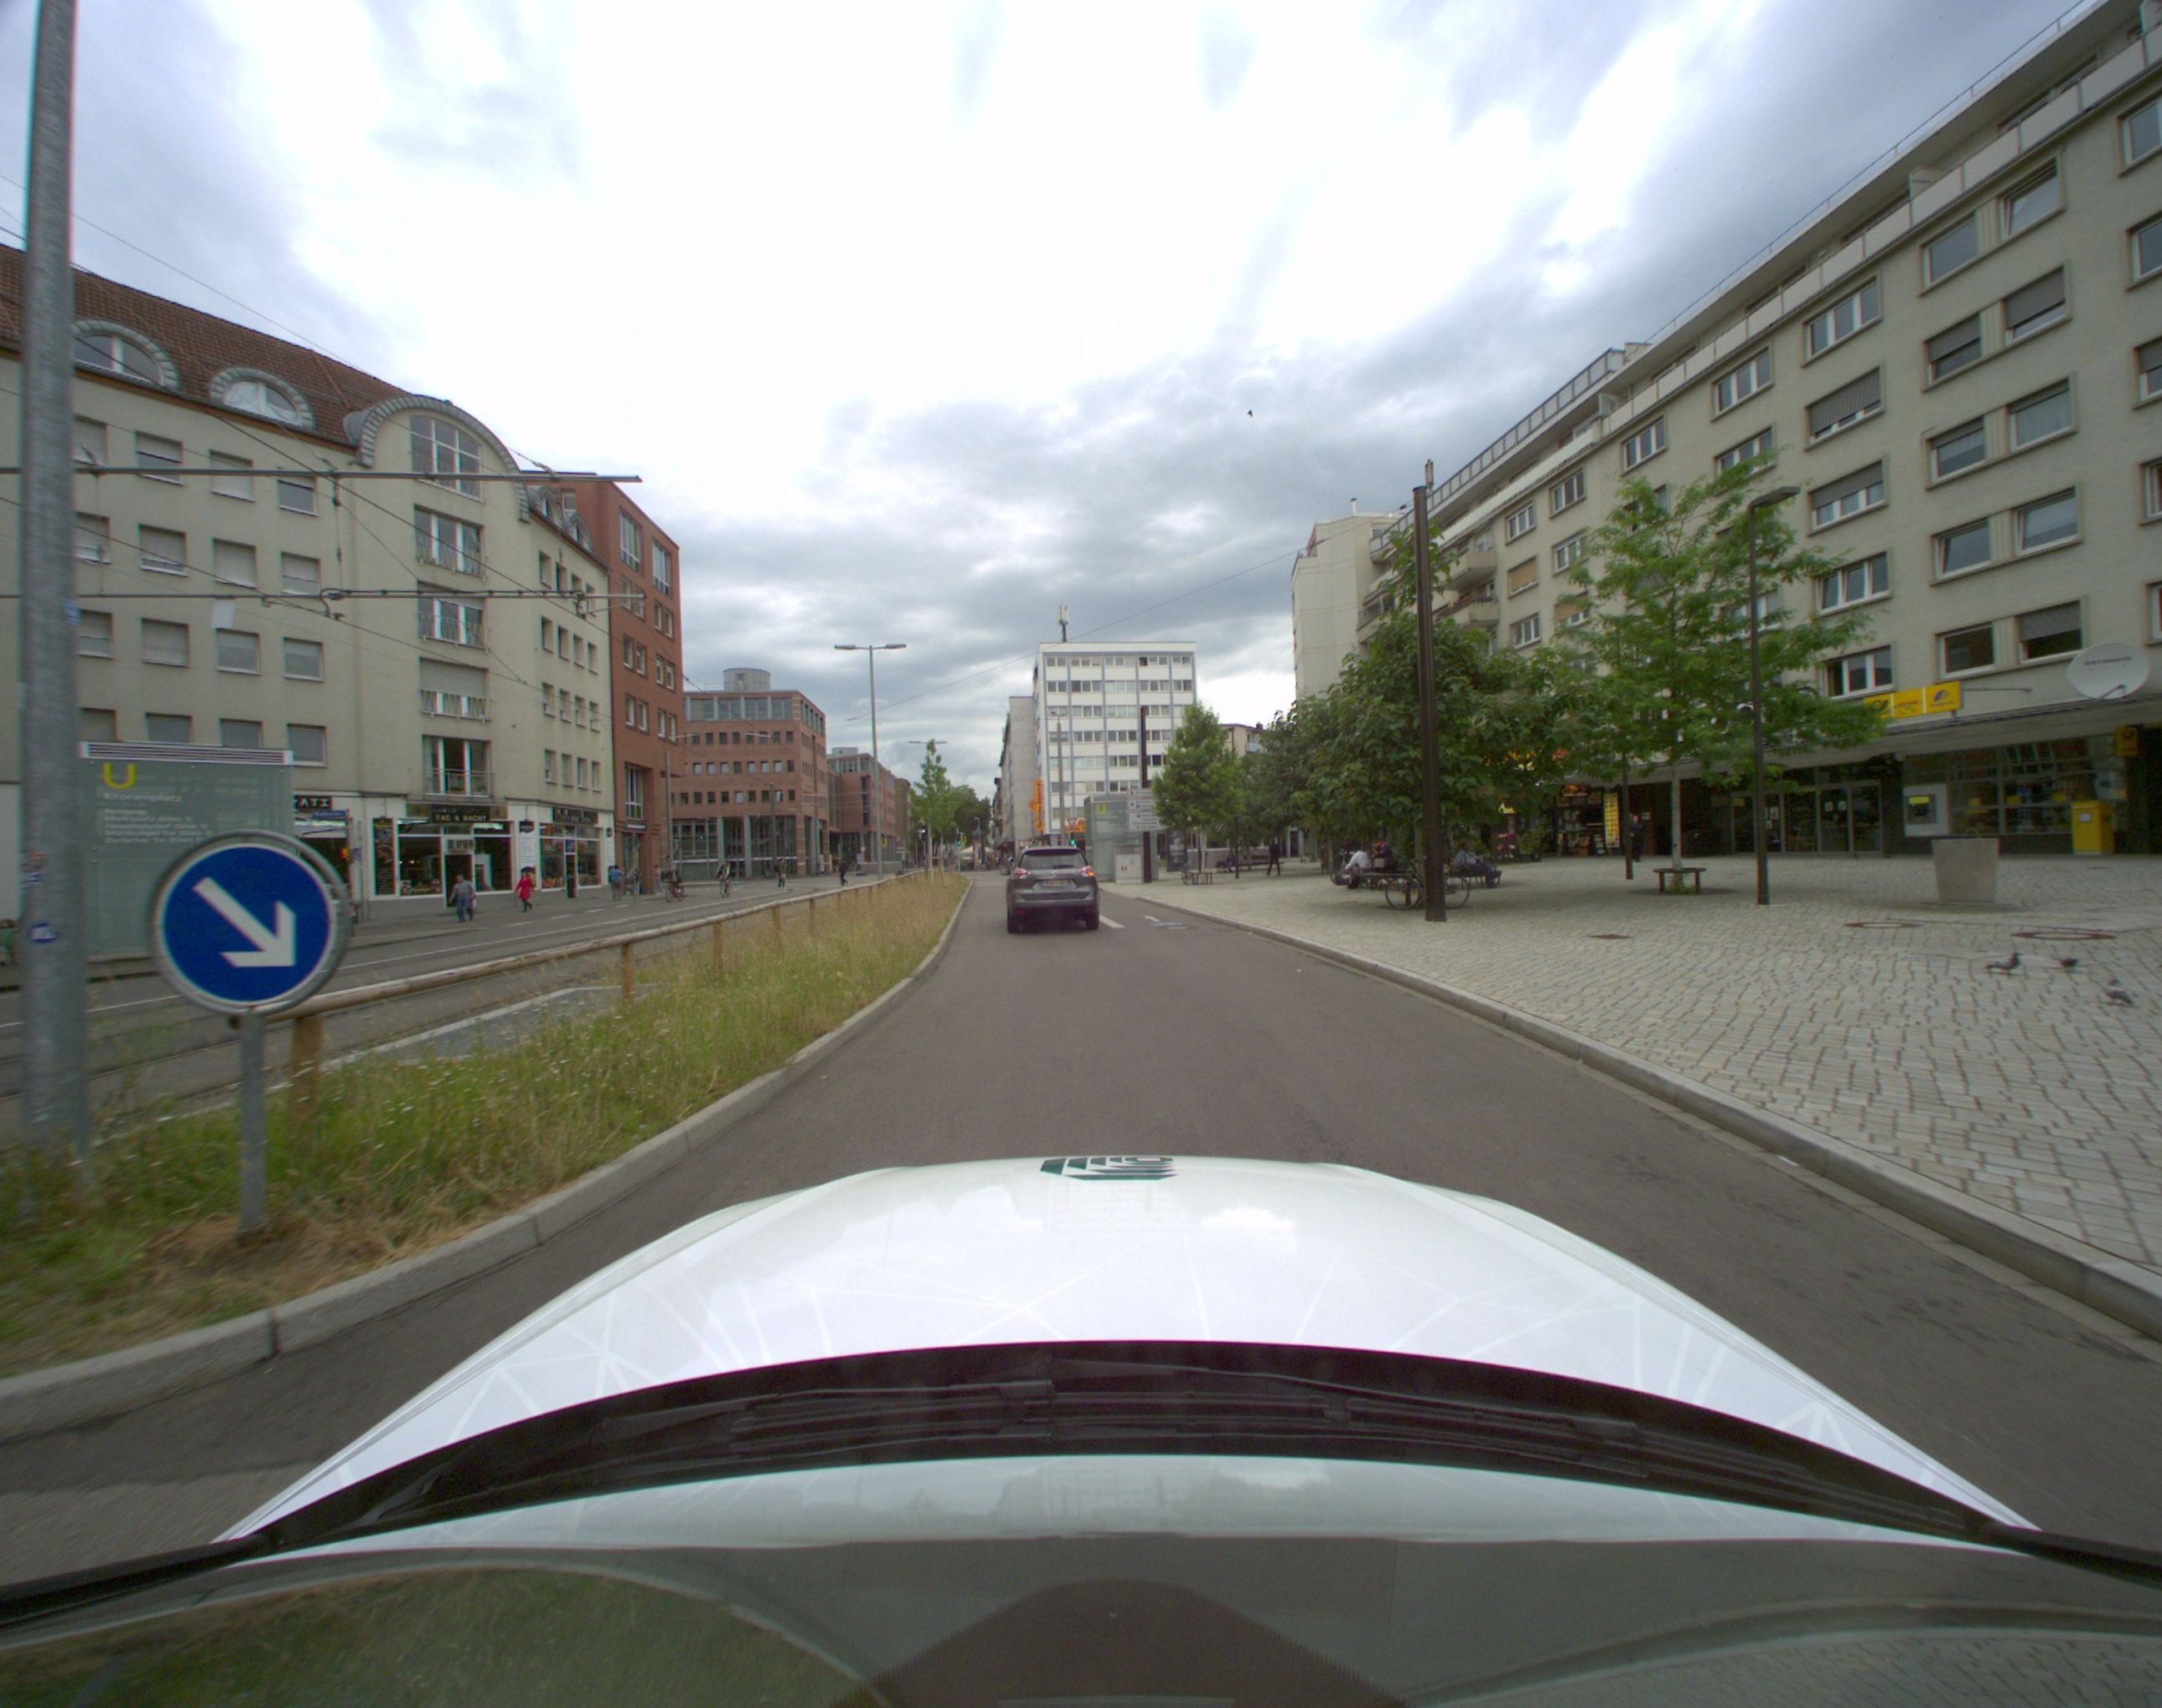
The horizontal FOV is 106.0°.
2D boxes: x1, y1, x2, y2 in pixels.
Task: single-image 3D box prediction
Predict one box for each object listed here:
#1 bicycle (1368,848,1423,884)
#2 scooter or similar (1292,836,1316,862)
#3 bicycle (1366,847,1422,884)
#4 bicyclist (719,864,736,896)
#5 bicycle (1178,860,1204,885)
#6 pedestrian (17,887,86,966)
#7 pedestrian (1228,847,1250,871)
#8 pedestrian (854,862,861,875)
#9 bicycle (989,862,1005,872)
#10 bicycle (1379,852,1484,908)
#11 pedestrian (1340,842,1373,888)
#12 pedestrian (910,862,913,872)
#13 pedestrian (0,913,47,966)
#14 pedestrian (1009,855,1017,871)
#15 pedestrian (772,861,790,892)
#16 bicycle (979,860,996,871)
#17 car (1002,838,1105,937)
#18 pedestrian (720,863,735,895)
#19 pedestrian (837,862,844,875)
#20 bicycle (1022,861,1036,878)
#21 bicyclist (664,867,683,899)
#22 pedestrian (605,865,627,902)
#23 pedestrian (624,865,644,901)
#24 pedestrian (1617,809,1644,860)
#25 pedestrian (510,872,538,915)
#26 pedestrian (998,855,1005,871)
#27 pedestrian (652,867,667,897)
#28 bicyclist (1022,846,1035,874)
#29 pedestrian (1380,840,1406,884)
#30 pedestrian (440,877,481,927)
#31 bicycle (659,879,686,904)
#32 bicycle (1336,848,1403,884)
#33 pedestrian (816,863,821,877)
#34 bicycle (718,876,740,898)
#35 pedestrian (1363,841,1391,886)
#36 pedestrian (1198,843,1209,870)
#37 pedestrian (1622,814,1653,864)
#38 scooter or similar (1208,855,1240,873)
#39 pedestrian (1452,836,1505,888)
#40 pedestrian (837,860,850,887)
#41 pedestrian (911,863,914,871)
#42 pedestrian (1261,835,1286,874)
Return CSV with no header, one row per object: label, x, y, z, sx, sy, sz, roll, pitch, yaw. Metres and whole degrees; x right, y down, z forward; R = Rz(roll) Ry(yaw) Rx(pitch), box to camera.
bicycle,10.465,0.388,27.125,1.591,1.111,0.478,-3,0,7
scooter or similar,16.120,-0.358,58.836,1.080,1.806,2.275,-3,0,2
bicycle,10.222,0.363,26.646,1.591,1.111,0.478,-3,0,7
bicyclist,-17.722,1.291,40.827,0.491,1.540,0.809,-3,0,-8
bicycle,4.759,0.781,35.172,0.652,0.978,1.764,-3,0,22
pedestrian,-21.120,1.474,16.715,0.552,1.556,0.656,-1,0,-3
pedestrian,9.057,0.299,46.626,1.041,1.297,0.732,-4,0,-2
pedestrian,-31.853,2.099,115.865,0.737,1.842,0.695,-1,-1,-36
bicycle,-9.661,1.467,93.486,1.703,1.065,0.434,-1,0,-23
bicycle,7.331,0.542,17.110,1.905,1.123,0.646,-1,0,3
pedestrian,8.460,0.339,25.023,0.631,1.366,0.682,-1,0,-26
pedestrian,-31.608,2.449,151.837,0.601,1.714,0.652,-1,0,-14
pedestrian,-21.719,1.744,16.648,0.551,1.031,0.453,-1,0,1
pedestrian,-7.723,1.016,93.088,0.714,1.832,1.012,-1,0,-15
pedestrian,-18.316,1.372,49.790,0.896,1.890,0.796,-1,-1,-9
bicycle,-10.730,1.335,93.384,1.874,1.172,0.527,-1,0,-22
car,-0.682,0.599,17.542,1.860,1.774,4.560,-3,1,-4
pedestrian,-21.775,1.529,50.114,0.610,1.890,0.796,-2,-1,-9
pedestrian,-34.493,2.058,116.902,0.737,1.842,0.695,-1,-1,-32
bicycle,-3.513,1.040,54.693,0.900,1.045,3.272,-2,0,-4
bicyclist,-18.350,1.308,36.693,0.479,1.407,0.809,-3,0,-8
pedestrian,-21.805,1.391,38.199,0.661,1.687,0.719,-2,-2,-16
pedestrian,-21.293,1.366,38.798,0.662,1.687,0.718,-2,-2,-19
pedestrian,20.730,-0.712,30.757,0.766,1.885,0.858,-1,-1,31
pedestrian,-22.357,1.590,32.695,0.722,1.687,0.658,-2,-2,-18
pedestrian,-9.097,1.018,92.939,0.733,1.746,0.660,-1,0,-15
pedestrian,-24.003,1.595,46.411,0.569,1.684,0.796,-1,-1,-11
bicyclist,-3.513,0.391,54.508,0.833,1.812,0.876,-1,0,-5
pedestrian,9.903,0.244,25.892,0.539,1.366,1.284,-1,0,11
pedestrian,-21.789,1.678,28.617,0.715,1.687,0.828,-3,-2,13
bicycle,-18.286,1.673,36.487,0.479,1.021,1.906,-3,0,-8
bicycle,9.809,0.409,27.729,2.022,1.111,0.479,-3,0,8
pedestrian,-30.248,1.834,93.739,0.451,1.532,0.518,-1,-1,-25
bicycle,-17.728,1.654,41.027,0.476,1.021,1.907,-3,0,-8
pedestrian,9.168,0.287,25.239,0.624,1.366,0.922,-1,0,10
pedestrian,7.956,0.176,52.899,0.667,1.761,0.643,-1,0,8
pedestrian,20.069,-0.546,29.374,0.766,1.751,0.722,-4,0,31
scooter or similar,8.222,0.565,46.757,1.571,0.948,0.729,-4,0,31
pedestrian,10.848,0.212,22.268,0.627,1.366,1.406,-1,0,-8
pedestrian,-15.187,1.251,52.079,0.744,1.684,0.796,-1,-1,-11
pedestrian,-33.483,2.595,161.943,0.601,1.714,0.652,-1,0,-14
pedestrian,9.222,0.042,39.089,0.713,1.802,1.075,-5,0,-8
